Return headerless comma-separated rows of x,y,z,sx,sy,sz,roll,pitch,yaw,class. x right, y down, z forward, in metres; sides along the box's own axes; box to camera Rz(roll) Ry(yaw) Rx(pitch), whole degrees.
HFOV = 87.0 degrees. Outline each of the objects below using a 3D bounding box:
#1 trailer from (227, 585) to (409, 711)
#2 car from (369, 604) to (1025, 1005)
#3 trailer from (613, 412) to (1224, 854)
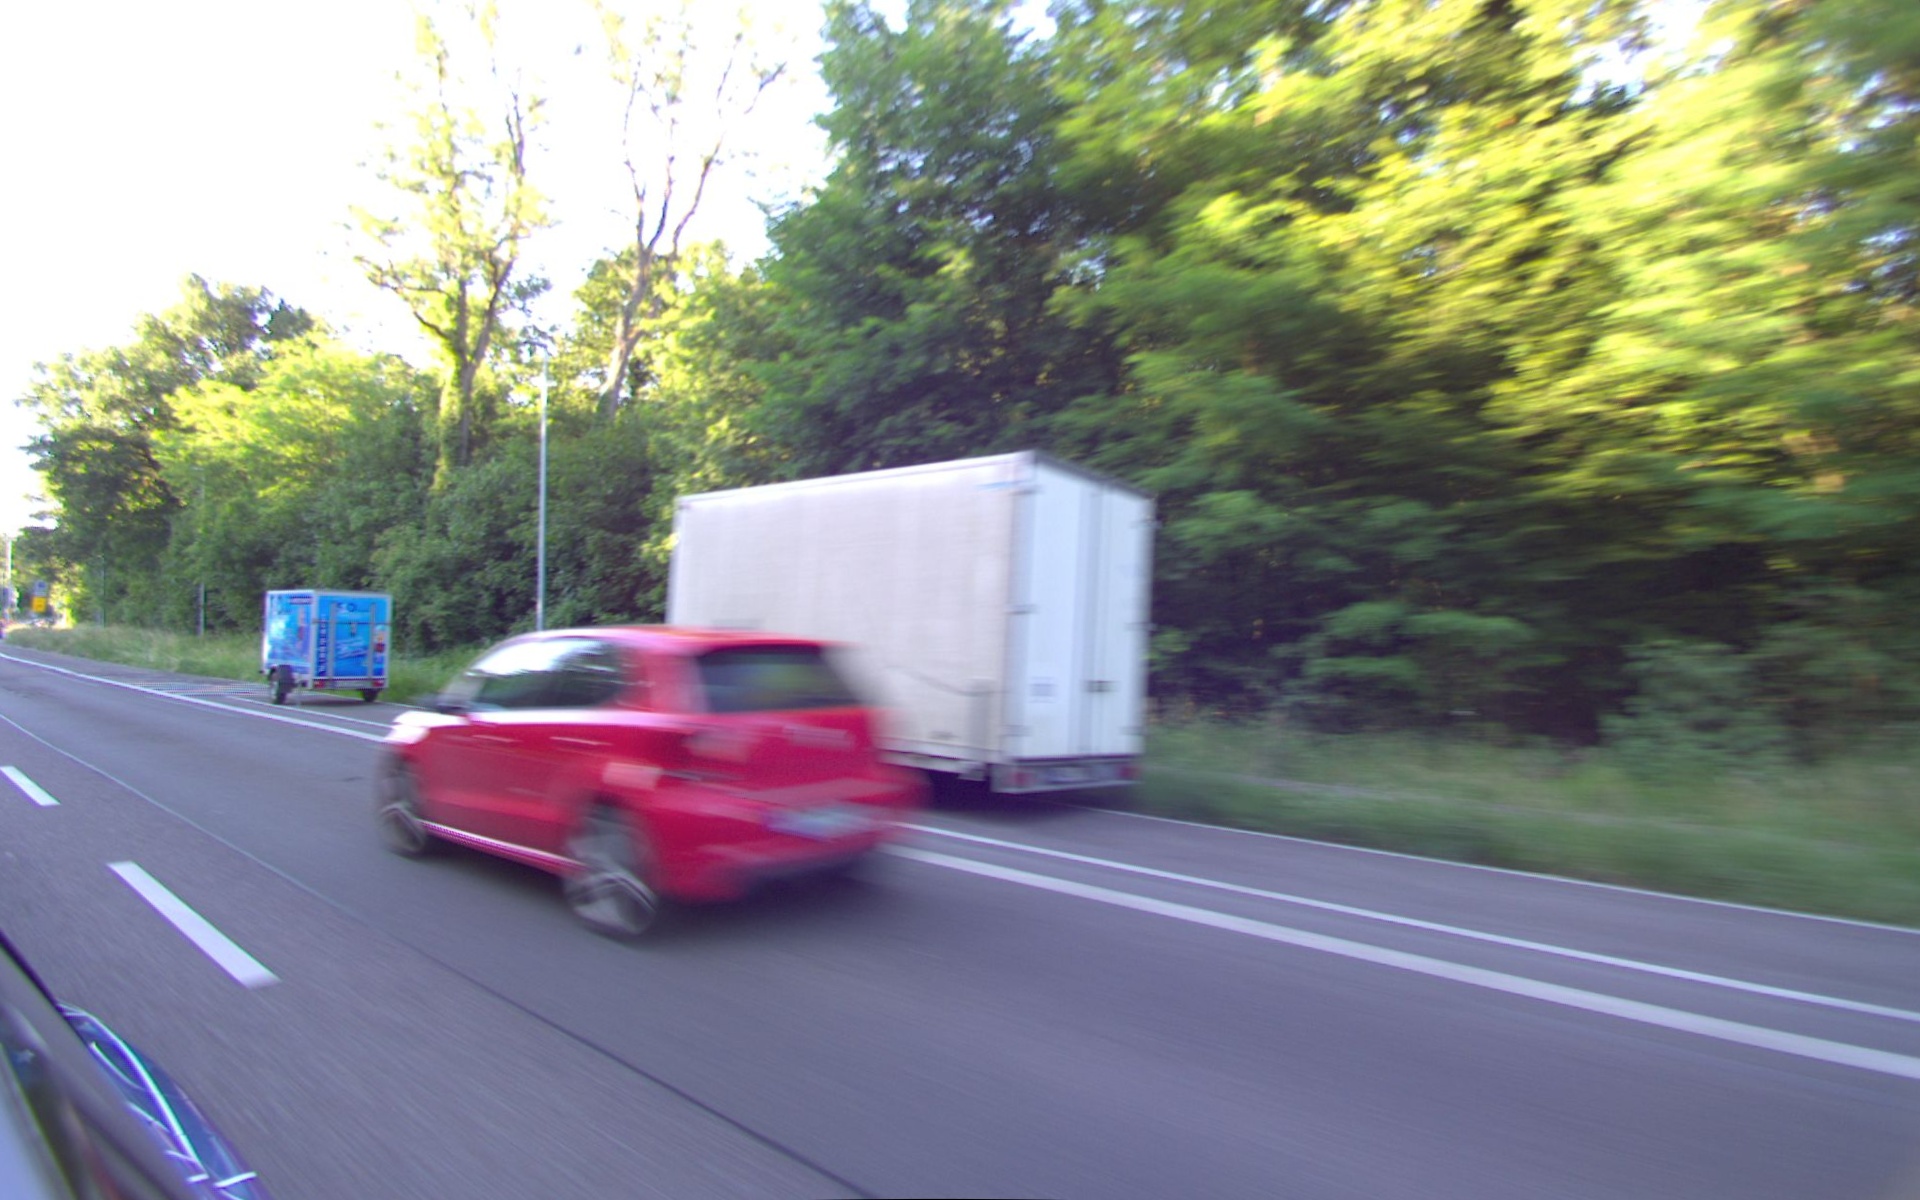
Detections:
-12.538,0.902,19.684,4.140,2.184,1.798,-1,-3,40,trailer
-1.728,0.827,5.783,4.036,1.497,1.664,-1,-3,42,car
-0.653,0.314,9.474,5.623,2.946,2.302,-1,-4,41,trailer
